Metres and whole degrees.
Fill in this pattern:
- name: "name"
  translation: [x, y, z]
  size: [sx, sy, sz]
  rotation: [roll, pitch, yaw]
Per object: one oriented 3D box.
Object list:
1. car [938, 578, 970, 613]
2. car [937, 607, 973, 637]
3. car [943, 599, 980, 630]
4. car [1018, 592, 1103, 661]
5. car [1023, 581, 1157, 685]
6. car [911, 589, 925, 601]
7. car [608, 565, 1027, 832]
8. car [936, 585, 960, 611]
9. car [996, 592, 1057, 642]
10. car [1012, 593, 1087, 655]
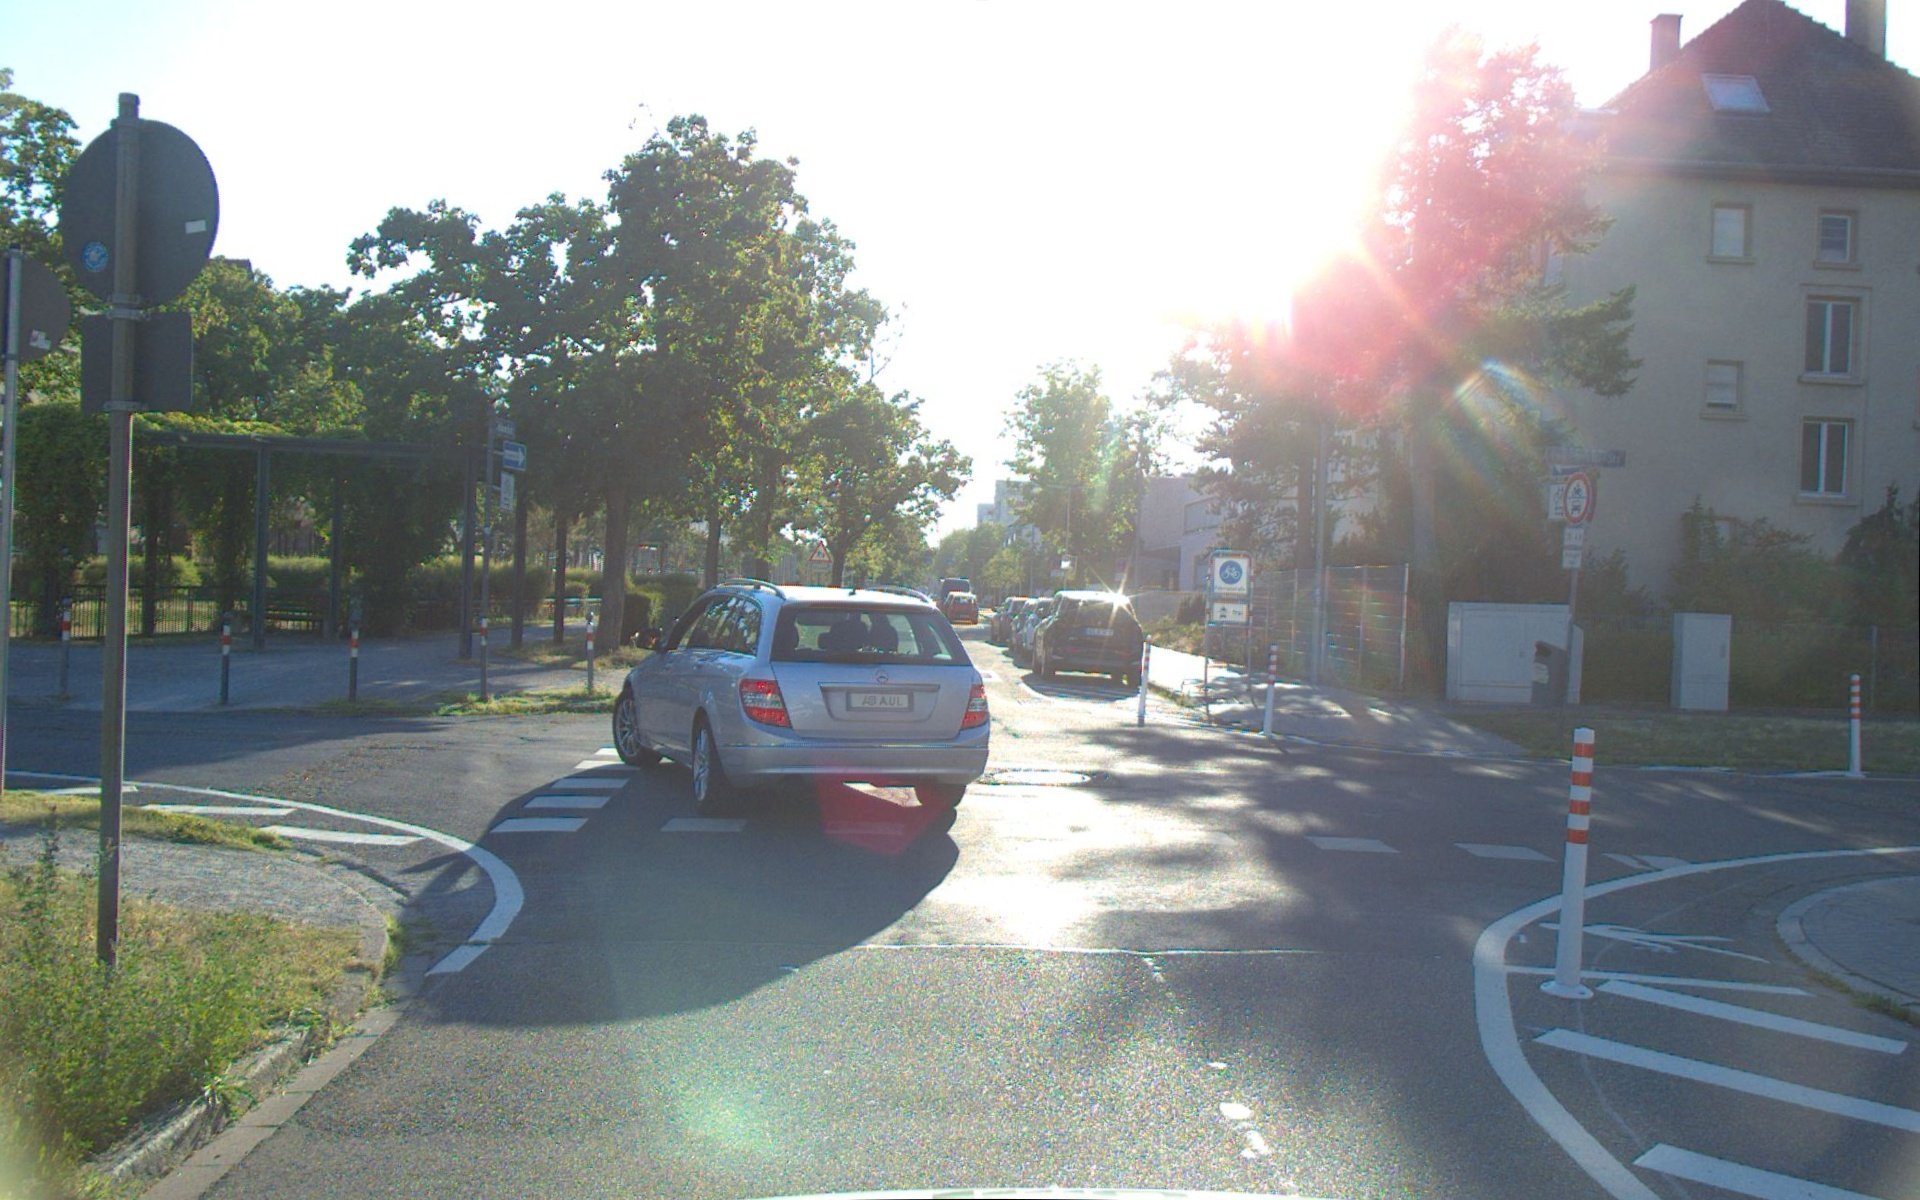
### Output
- name: "car"
  translation: [-0.381, -0.286, 106.410]
  size: [1.953, 2.160, 3.999]
  rotation: [2, 0, -1]
- name: "car"
  translation: [-0.299, 1.218, 92.582]
  size: [1.695, 1.544, 3.757]
  rotation: [2, 0, -4]
- name: "car"
  translation: [0.059, 0.738, 88.675]
  size: [1.722, 1.544, 3.757]
  rotation: [2, 0, -4]
- name: "car"
  translation: [2.377, 0.599, 39.806]
  size: [1.729, 1.552, 3.772]
  rotation: [1, 0, -1]
- name: "car"
  translation: [2.340, 0.574, 30.858]
  size: [1.781, 1.670, 4.213]
  rotation: [5, 0, -4]
- name: "car"
  translation: [-6.000, -0.747, 236.057]
  size: [1.828, 1.646, 3.998]
  rotation: [2, 0, -2]
- name: "car"
  translation: [-1.200, 0.546, 11.575]
  size: [1.791, 1.498, 4.189]
  rotation: [1, 0, -22]
- name: "car"
  translation: [-1.061, -0.153, 145.574]
  size: [1.953, 2.160, 3.999]
  rotation: [2, 0, -1]
- name: "car"
  translation: [2.135, 0.526, 53.911]
  size: [1.729, 1.552, 3.772]
  rotation: [1, 0, -1]
- name: "car"
  translation: [2.371, 0.609, 44.710]
  size: [1.695, 1.544, 3.759]
  rotation: [2, 0, -1]
